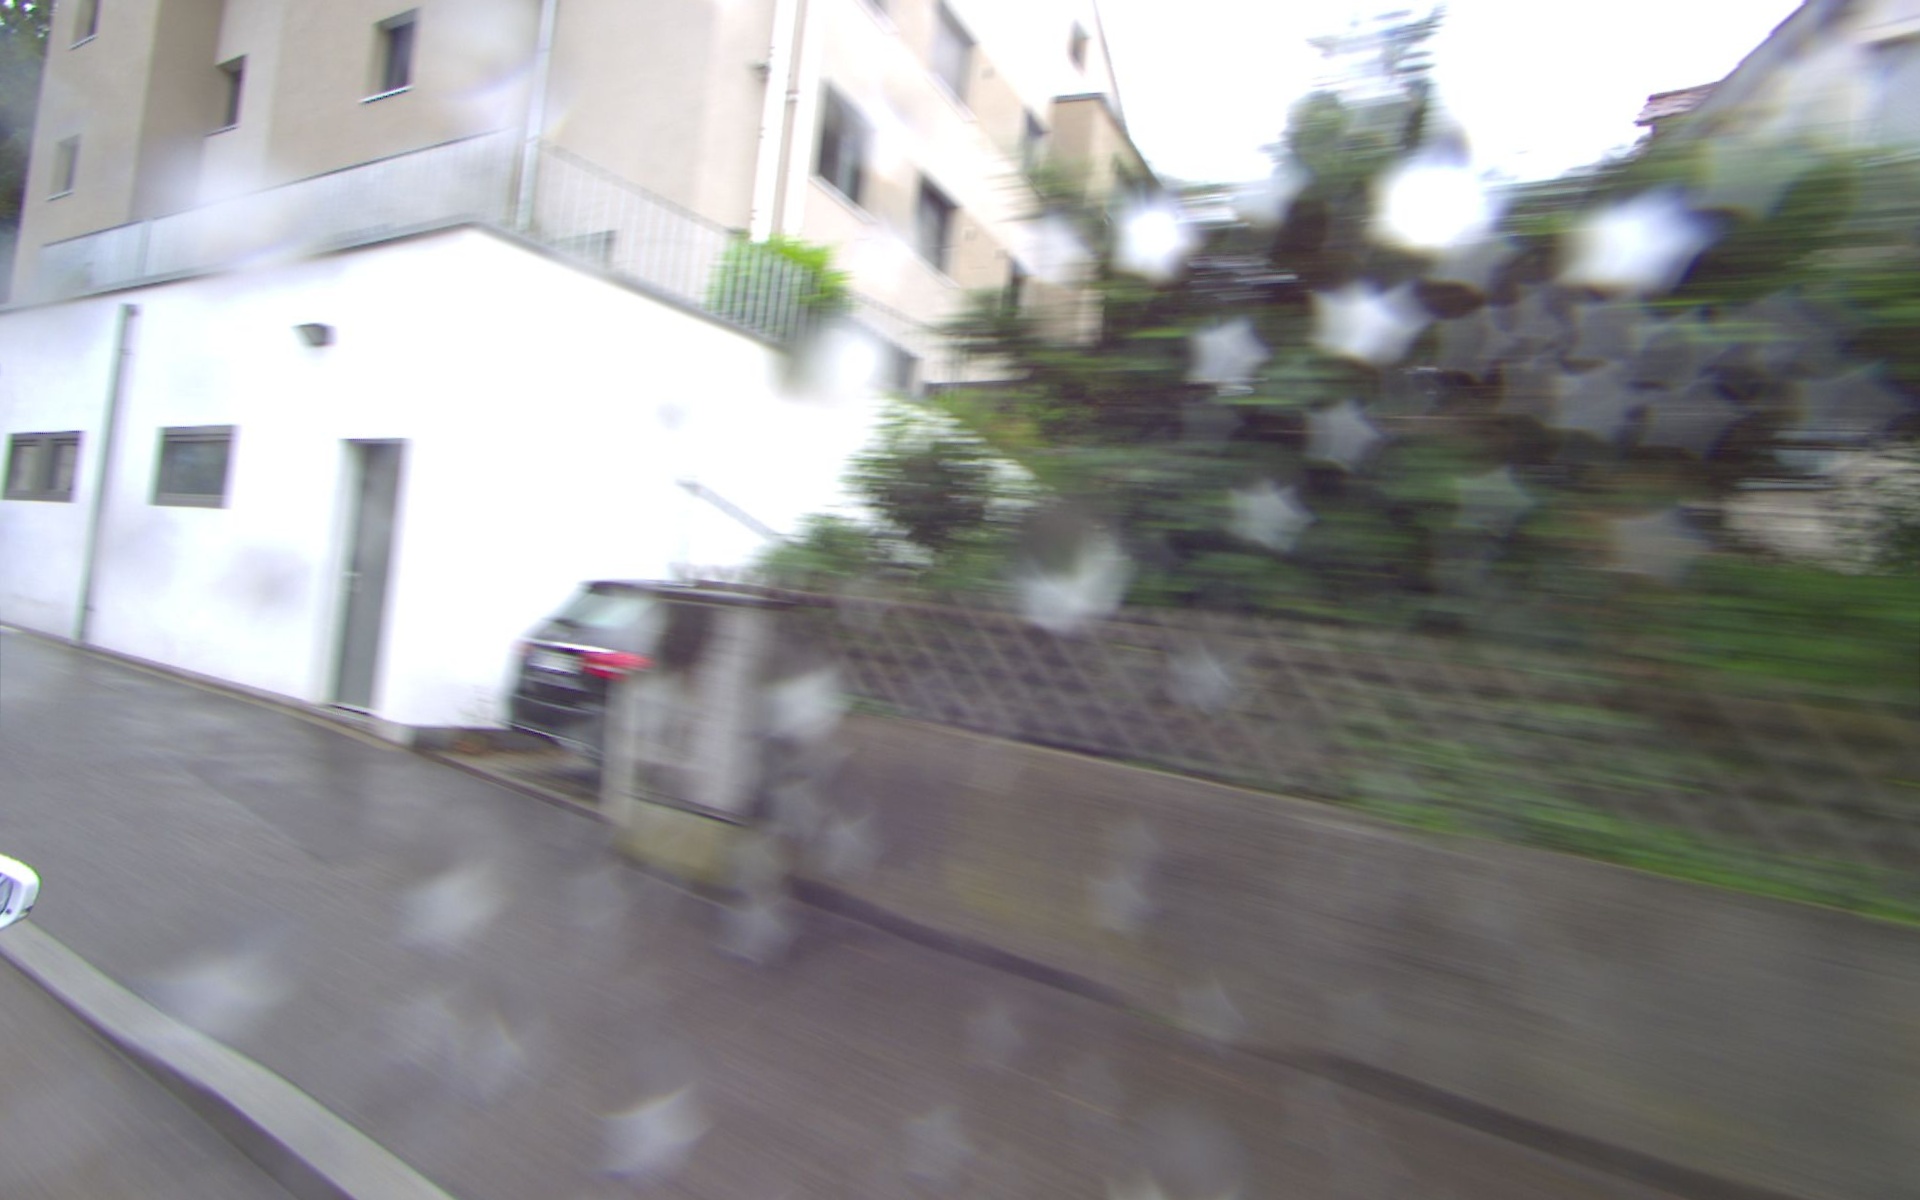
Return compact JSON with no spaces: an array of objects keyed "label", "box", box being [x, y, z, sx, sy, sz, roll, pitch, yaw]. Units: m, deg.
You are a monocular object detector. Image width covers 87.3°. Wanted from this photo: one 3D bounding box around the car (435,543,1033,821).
[{"label":"car","box":[-1.494,0.640,7.752,1.972,1.474,3.983,6,-2,41]}]
